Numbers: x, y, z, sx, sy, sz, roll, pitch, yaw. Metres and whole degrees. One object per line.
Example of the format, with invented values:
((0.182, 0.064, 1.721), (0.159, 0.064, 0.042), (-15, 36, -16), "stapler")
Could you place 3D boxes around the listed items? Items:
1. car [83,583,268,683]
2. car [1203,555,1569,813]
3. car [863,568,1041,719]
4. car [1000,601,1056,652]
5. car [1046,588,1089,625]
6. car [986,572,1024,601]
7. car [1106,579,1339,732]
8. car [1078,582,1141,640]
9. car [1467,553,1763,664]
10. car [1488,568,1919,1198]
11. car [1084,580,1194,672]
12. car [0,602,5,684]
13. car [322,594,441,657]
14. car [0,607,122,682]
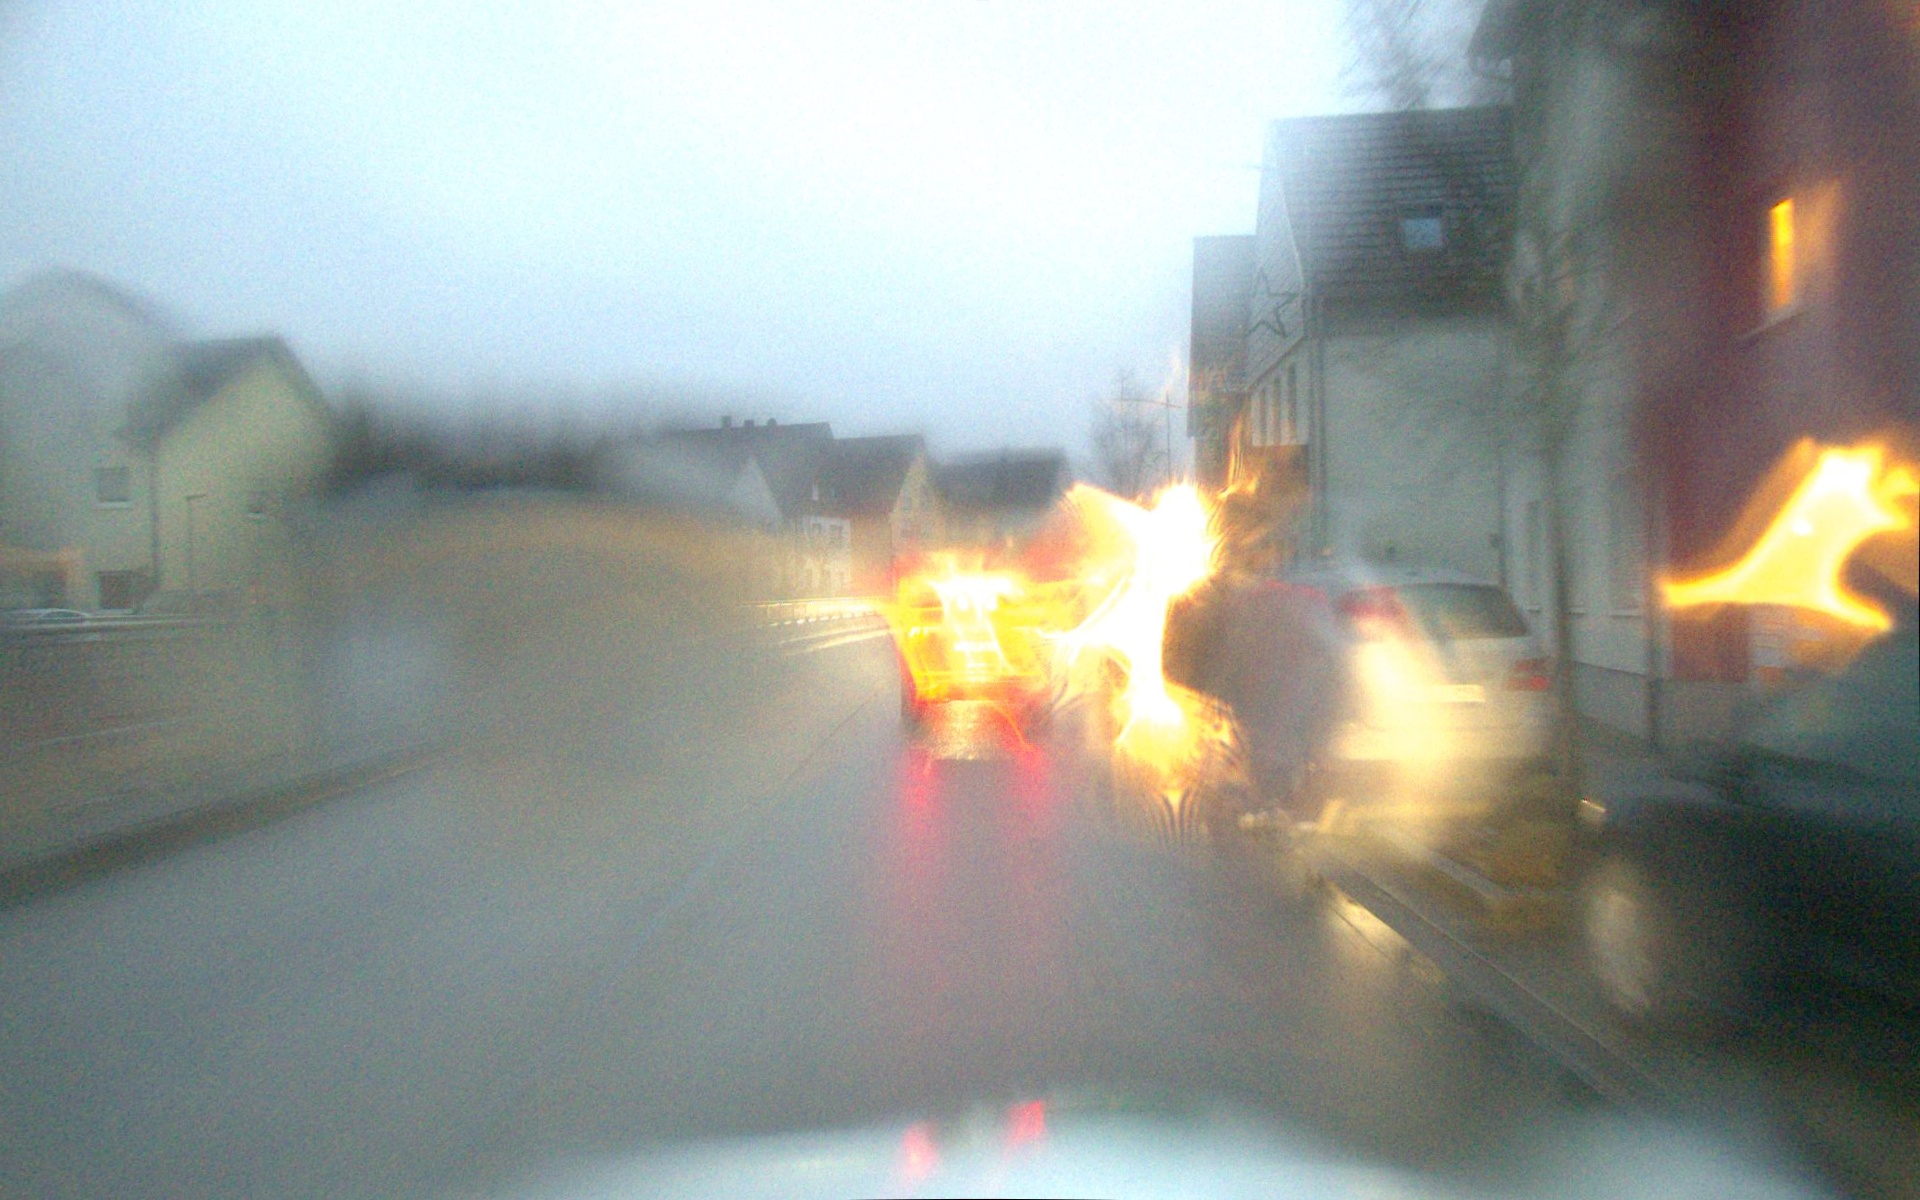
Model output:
((-15.676, 0.625, 33.260), (1.762, 1.835, 3.862), (-1, 0, 2), "car")
((3.065, 0.525, 12.860), (1.630, 1.603, 4.496), (-2, 0, 0), "car")
((-0.213, 0.440, 20.563), (1.926, 1.622, 4.310), (0, 2, -4), "car")
((2.065, 0.769, 50.062), (1.647, 1.478, 4.001), (0, 0, 2), "car")
((4.574, 0.242, 70.233), (1.776, 1.436, 4.003), (0, 2, 4), "car")
((3.097, -0.946, 115.018), (1.999, 1.959, 4.050), (-2, 1, -8), "car")
((2.955, 0.558, 19.724), (1.917, 1.559, 5.008), (1, 0, 0), "car")
((4.194, 0.285, 46.497), (1.611, 1.440, 2.729), (-4, 1, 5), "car")
((10.393, 0.136, 26.530), (4.059, 1.582, 1.865), (-2, 0, 8), "car")
((3.084, 0.659, 4.668), (1.668, 1.476, 4.190), (-2, 1, -2), "car")
((3.215, 0.429, 30.412), (1.618, 1.480, 4.239), (-3, 0, 2), "car")
((-20.979, 0.888, 32.528), (1.819, 1.711, 4.003), (1, 0, 5), "car")
((-18.949, 0.805, 54.387), (1.834, 1.809, 4.505), (-3, 1, 6), "car")
((-20.858, 0.975, 37.122), (1.731, 1.550, 4.034), (-1, 0, 5), "car")
